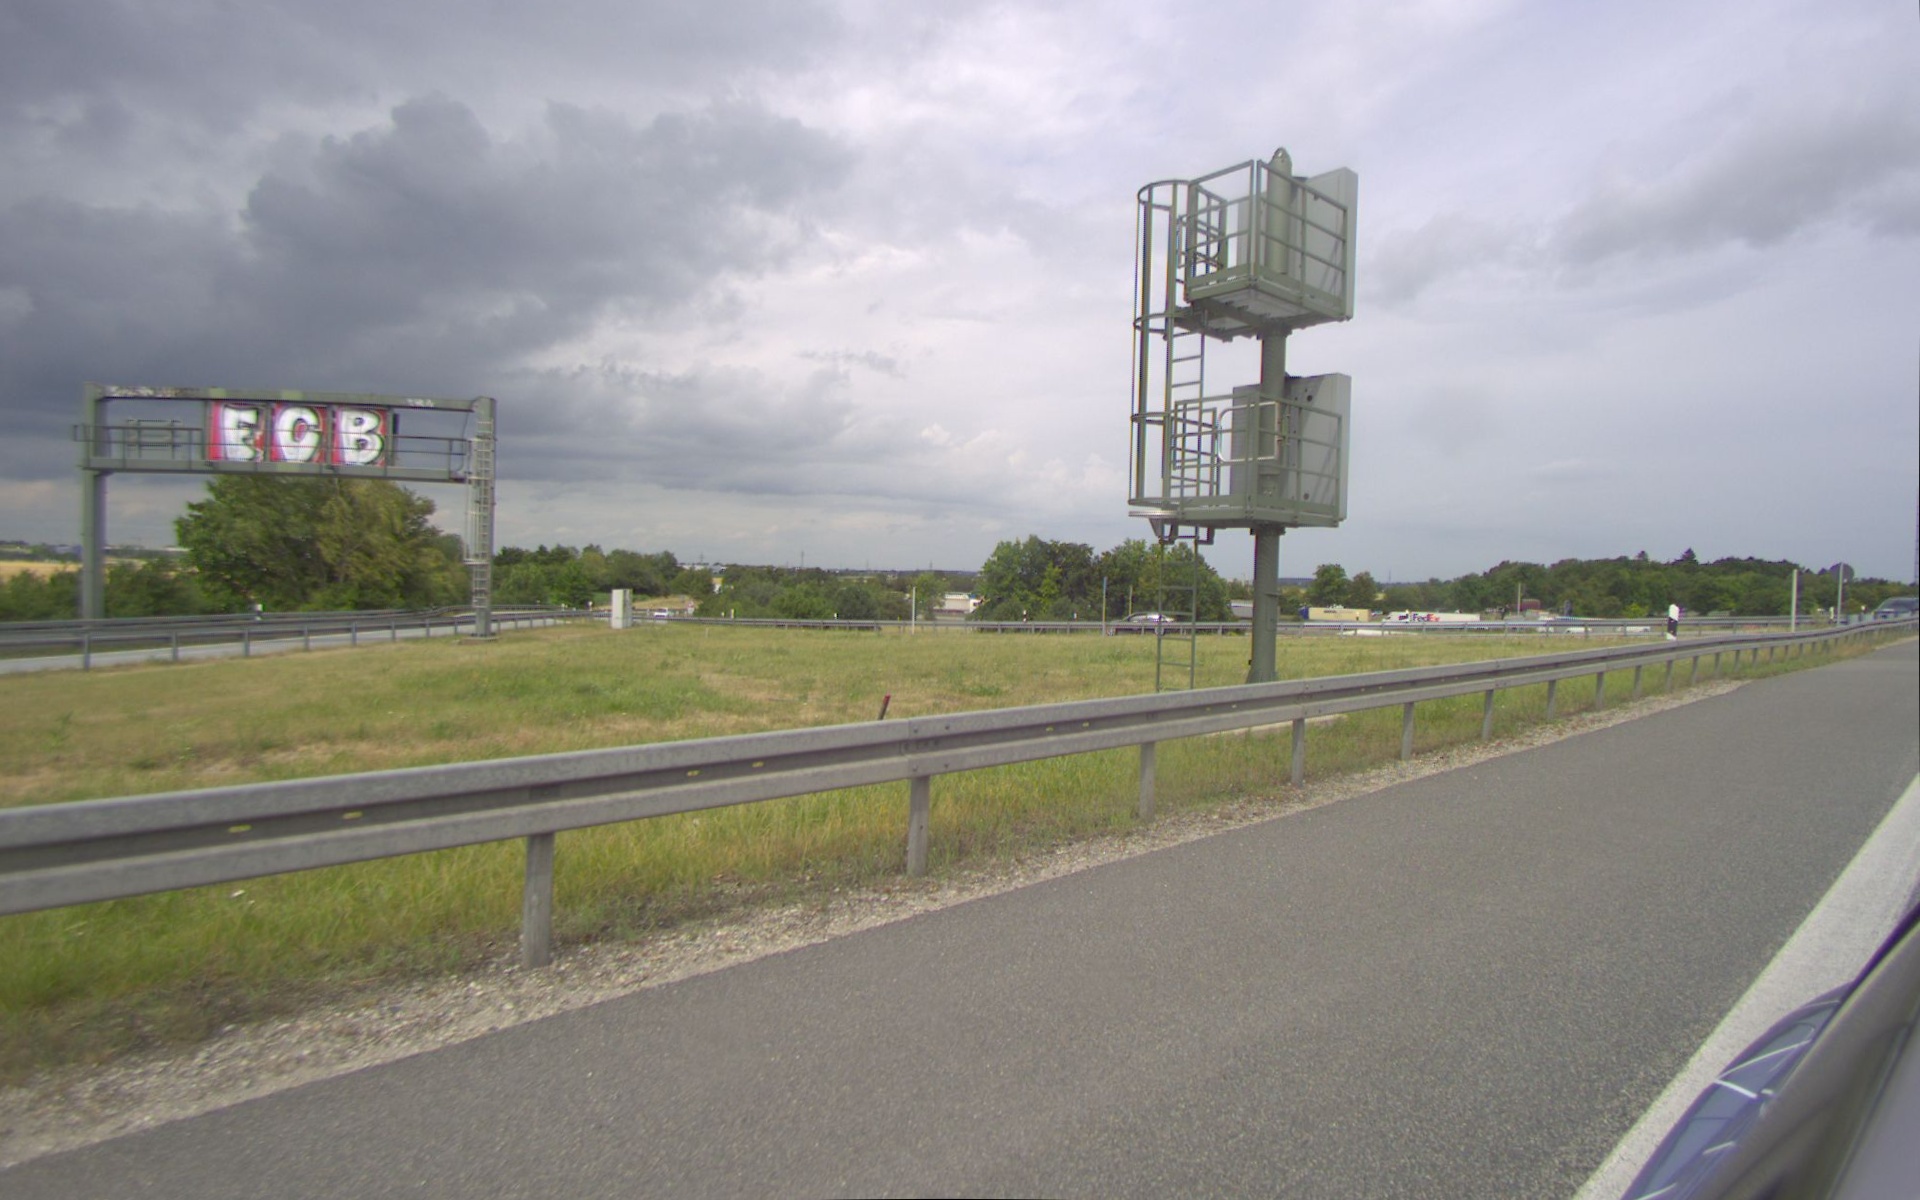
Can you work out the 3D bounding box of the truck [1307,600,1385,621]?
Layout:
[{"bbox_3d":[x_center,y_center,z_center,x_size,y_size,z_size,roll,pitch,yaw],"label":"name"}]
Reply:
[{"bbox_3d":[88.530,2.364,232.495,16.277,4.612,3.953,1,-1,38],"label":"truck"}]

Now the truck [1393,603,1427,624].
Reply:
[{"bbox_3d":[99.421,2.921,223.575,6.259,4.568,3.878,0,0,38],"label":"truck"}]

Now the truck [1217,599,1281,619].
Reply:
[{"bbox_3d":[70.175,2.108,246.138,14.809,4.612,3.952,1,-1,39],"label":"truck"}]

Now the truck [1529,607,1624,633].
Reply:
[{"bbox_3d":[124.559,4.002,204.669,16.086,4.759,3.940,1,0,38],"label":"truck"}]

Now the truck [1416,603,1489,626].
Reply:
[{"bbox_3d":[106.164,3.112,218.424,13.714,4.612,3.954,1,-1,38],"label":"truck"}]

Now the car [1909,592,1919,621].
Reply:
[{"bbox_3d":[60.269,0.439,62.044,3.919,1.794,1.933,1,-1,-29],"label":"car"}]

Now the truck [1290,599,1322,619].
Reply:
[{"bbox_3d":[81.348,2.180,238.134,6.259,4.568,3.879,0,0,38],"label":"truck"}]

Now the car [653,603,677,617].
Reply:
[{"bbox_3d":[-38.557,1.313,132.435,1.962,1.731,3.999,1,0,0],"label":"car"}]

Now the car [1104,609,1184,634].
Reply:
[{"bbox_3d":[10.293,1.184,56.536,4.299,1.297,1.703,1,0,13],"label":"car"}]

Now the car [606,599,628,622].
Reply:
[{"bbox_3d":[-35.382,1.016,104.250,1.872,2.291,4.658,1,0,-21],"label":"car"}]
